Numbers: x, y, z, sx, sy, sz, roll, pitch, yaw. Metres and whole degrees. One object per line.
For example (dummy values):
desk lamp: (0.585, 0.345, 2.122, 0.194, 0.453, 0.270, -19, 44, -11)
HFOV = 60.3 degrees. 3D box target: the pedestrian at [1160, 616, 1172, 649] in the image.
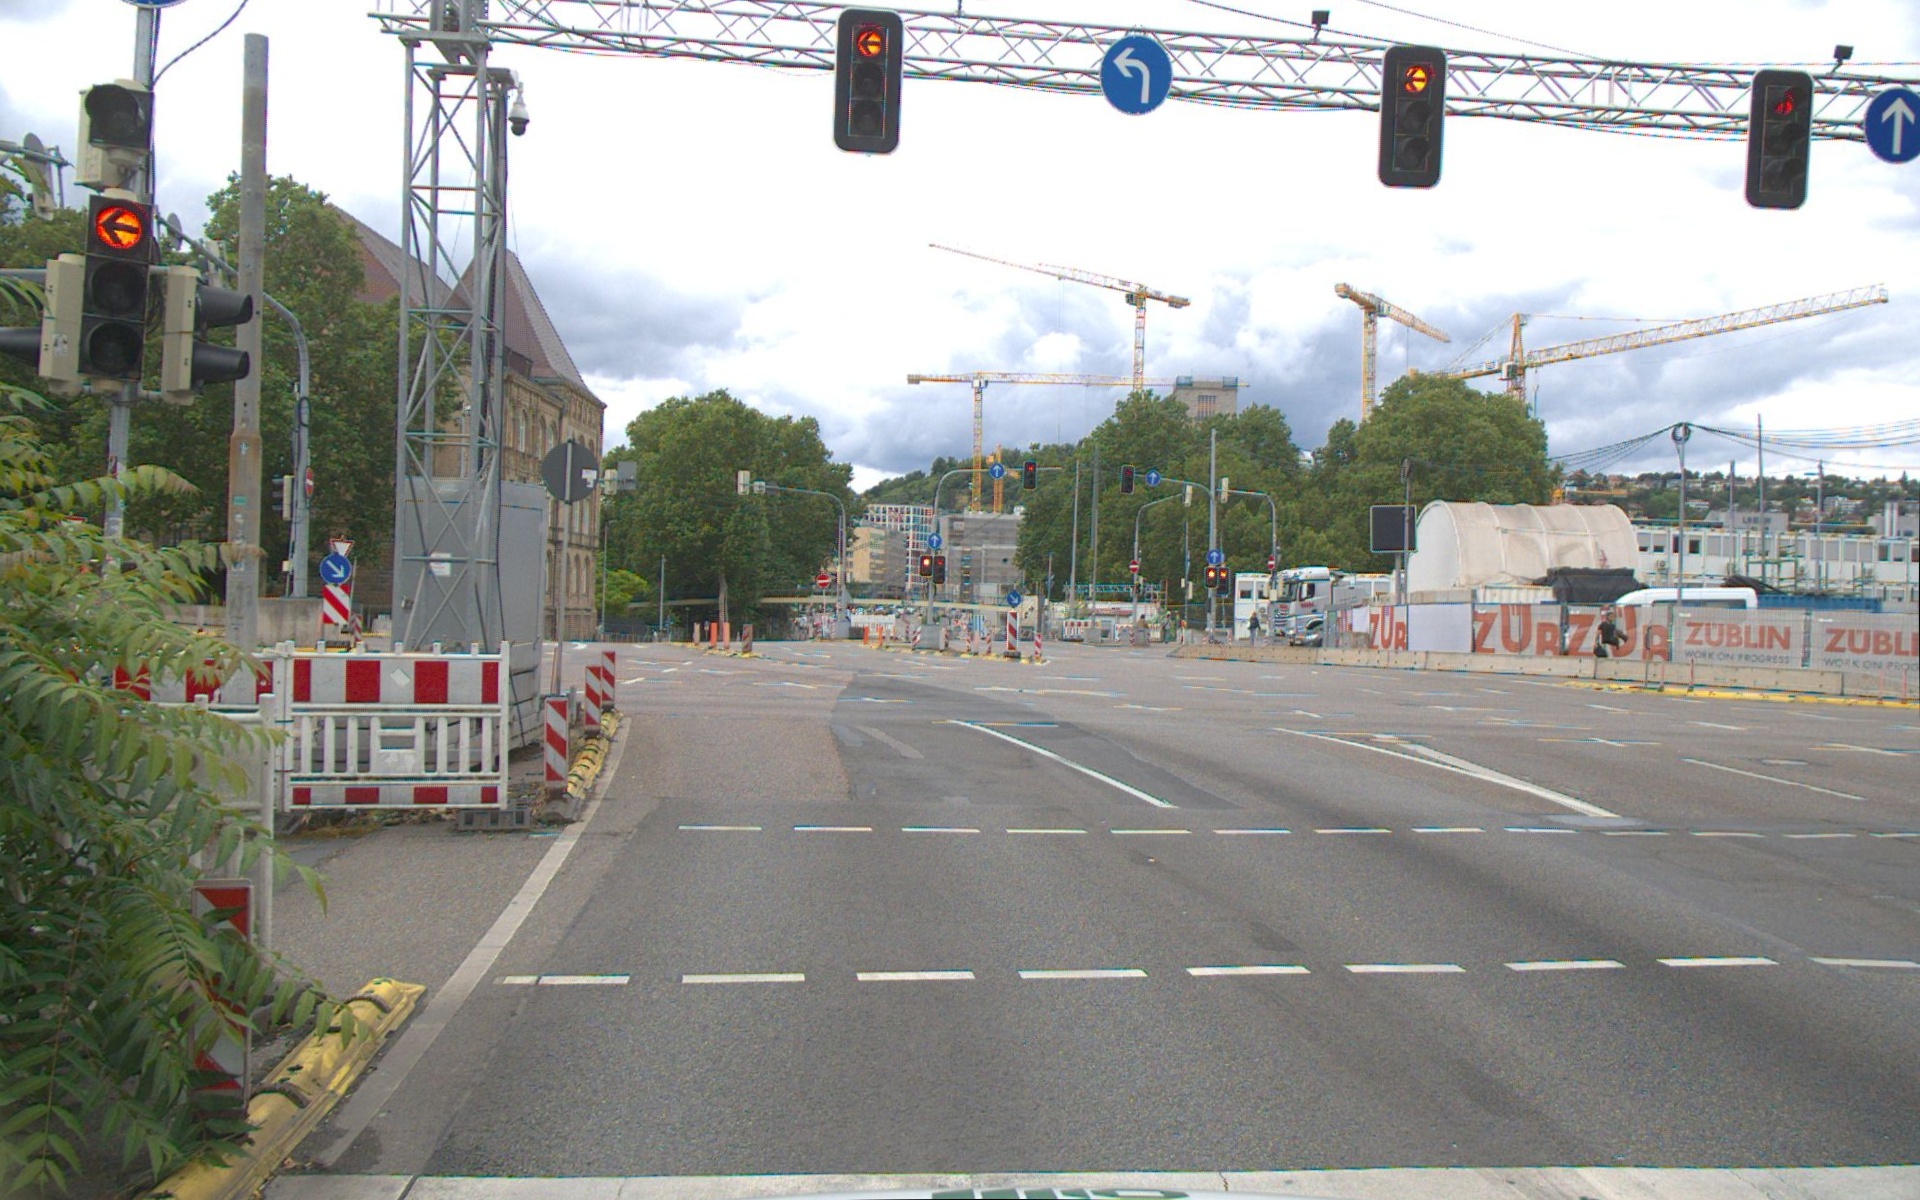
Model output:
pedestrian: (11.095, 1.751, 89.168, 0.555, 1.718, 0.471, 2, 0, -1)

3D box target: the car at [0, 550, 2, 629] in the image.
car: (-19.704, -0.123, 29.342, 4.239, 1.705, 1.993, 2, 0, -14)

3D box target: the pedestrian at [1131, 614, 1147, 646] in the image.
pedestrian: (9.572, 1.607, 88.524, 0.714, 1.718, 0.677, 2, 0, -1)

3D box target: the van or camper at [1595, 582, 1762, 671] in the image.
van or camper: (20.729, 0.743, 47.908, 4.123, 2.398, 2.002, 1, 0, 14)

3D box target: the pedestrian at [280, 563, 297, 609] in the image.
pedestrian: (-29.632, -0.617, 72.972, 0.523, 2.049, 0.421, 2, 0, -44)

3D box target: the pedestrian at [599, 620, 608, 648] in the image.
pedestrian: (-26.335, 2.504, 122.301, 0.513, 2.049, 0.566, 1, 0, -1)

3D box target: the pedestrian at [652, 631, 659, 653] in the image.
pedestrian: (-28.230, 3.892, 153.414, 0.513, 2.049, 0.566, 1, 0, -1)

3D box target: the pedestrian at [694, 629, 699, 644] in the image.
pedestrian: (-28.350, 3.906, 177.899, 0.525, 1.620, 0.515, 1, 0, -5)

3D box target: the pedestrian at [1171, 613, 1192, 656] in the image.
pedestrian: (9.065, 1.406, 67.588, 0.714, 1.718, 0.677, 2, 0, -1)

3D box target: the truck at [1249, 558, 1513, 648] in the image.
truck: (20.994, 0.165, 82.317, 12.837, 4.111, 3.927, 1, 0, -21)

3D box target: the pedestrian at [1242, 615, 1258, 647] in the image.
pedestrian: (15.625, 1.659, 89.162, 0.609, 1.718, 0.710, 2, 0, 28)

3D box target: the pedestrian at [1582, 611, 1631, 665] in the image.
pedestrian: (17.223, 1.004, 44.060, 0.789, 1.402, 0.894, 2, 0, -34)
